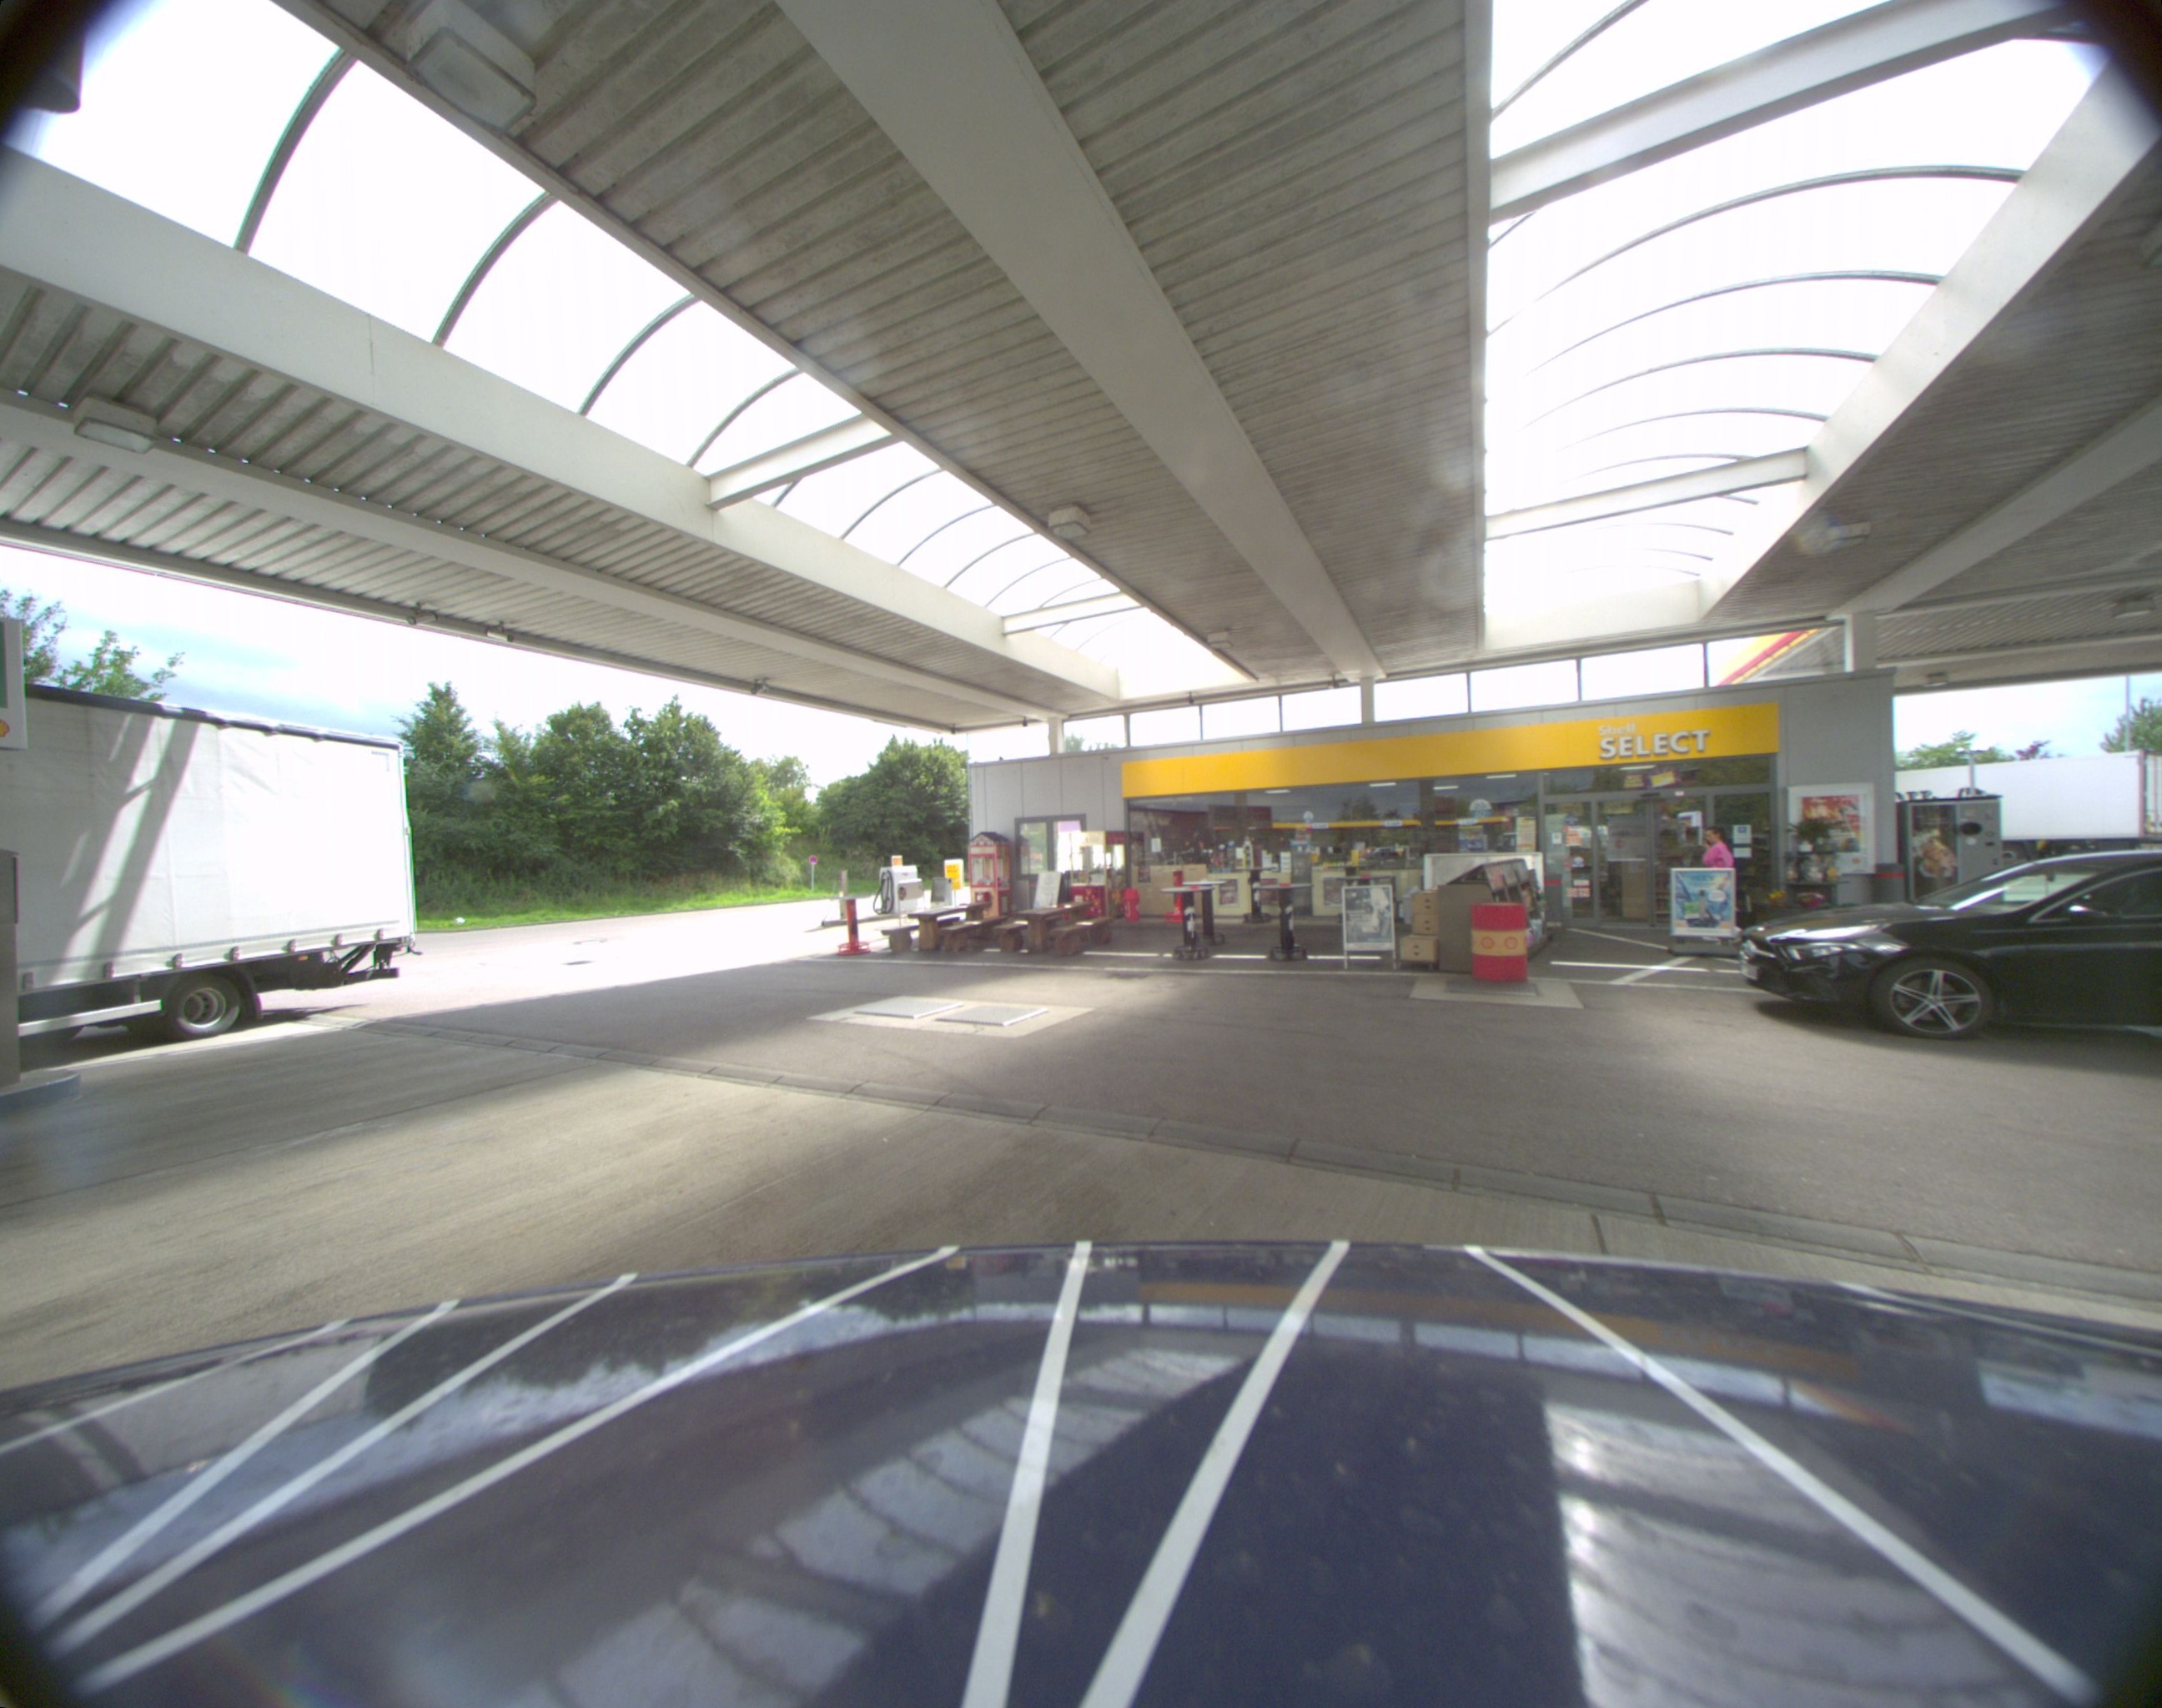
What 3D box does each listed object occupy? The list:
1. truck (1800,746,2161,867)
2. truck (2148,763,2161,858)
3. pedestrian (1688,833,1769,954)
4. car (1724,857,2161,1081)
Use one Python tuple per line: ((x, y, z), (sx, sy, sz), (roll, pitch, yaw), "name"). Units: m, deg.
((35.127, -1.611, 30.058), (2.796, 3.982, 9.578), (-3, 1, -16), "truck")
((51.475, -2.039, 33.139), (3.383, 4.479, 6.239), (-2, 1, 29), "truck")
((9.460, 0.561, 11.114), (0.627, 1.703, 0.623), (-2, 1, 4), "pedestrian")
((8.163, 0.814, 5.970), (4.461, 1.491, 1.782), (-2, 1, 28), "car")
